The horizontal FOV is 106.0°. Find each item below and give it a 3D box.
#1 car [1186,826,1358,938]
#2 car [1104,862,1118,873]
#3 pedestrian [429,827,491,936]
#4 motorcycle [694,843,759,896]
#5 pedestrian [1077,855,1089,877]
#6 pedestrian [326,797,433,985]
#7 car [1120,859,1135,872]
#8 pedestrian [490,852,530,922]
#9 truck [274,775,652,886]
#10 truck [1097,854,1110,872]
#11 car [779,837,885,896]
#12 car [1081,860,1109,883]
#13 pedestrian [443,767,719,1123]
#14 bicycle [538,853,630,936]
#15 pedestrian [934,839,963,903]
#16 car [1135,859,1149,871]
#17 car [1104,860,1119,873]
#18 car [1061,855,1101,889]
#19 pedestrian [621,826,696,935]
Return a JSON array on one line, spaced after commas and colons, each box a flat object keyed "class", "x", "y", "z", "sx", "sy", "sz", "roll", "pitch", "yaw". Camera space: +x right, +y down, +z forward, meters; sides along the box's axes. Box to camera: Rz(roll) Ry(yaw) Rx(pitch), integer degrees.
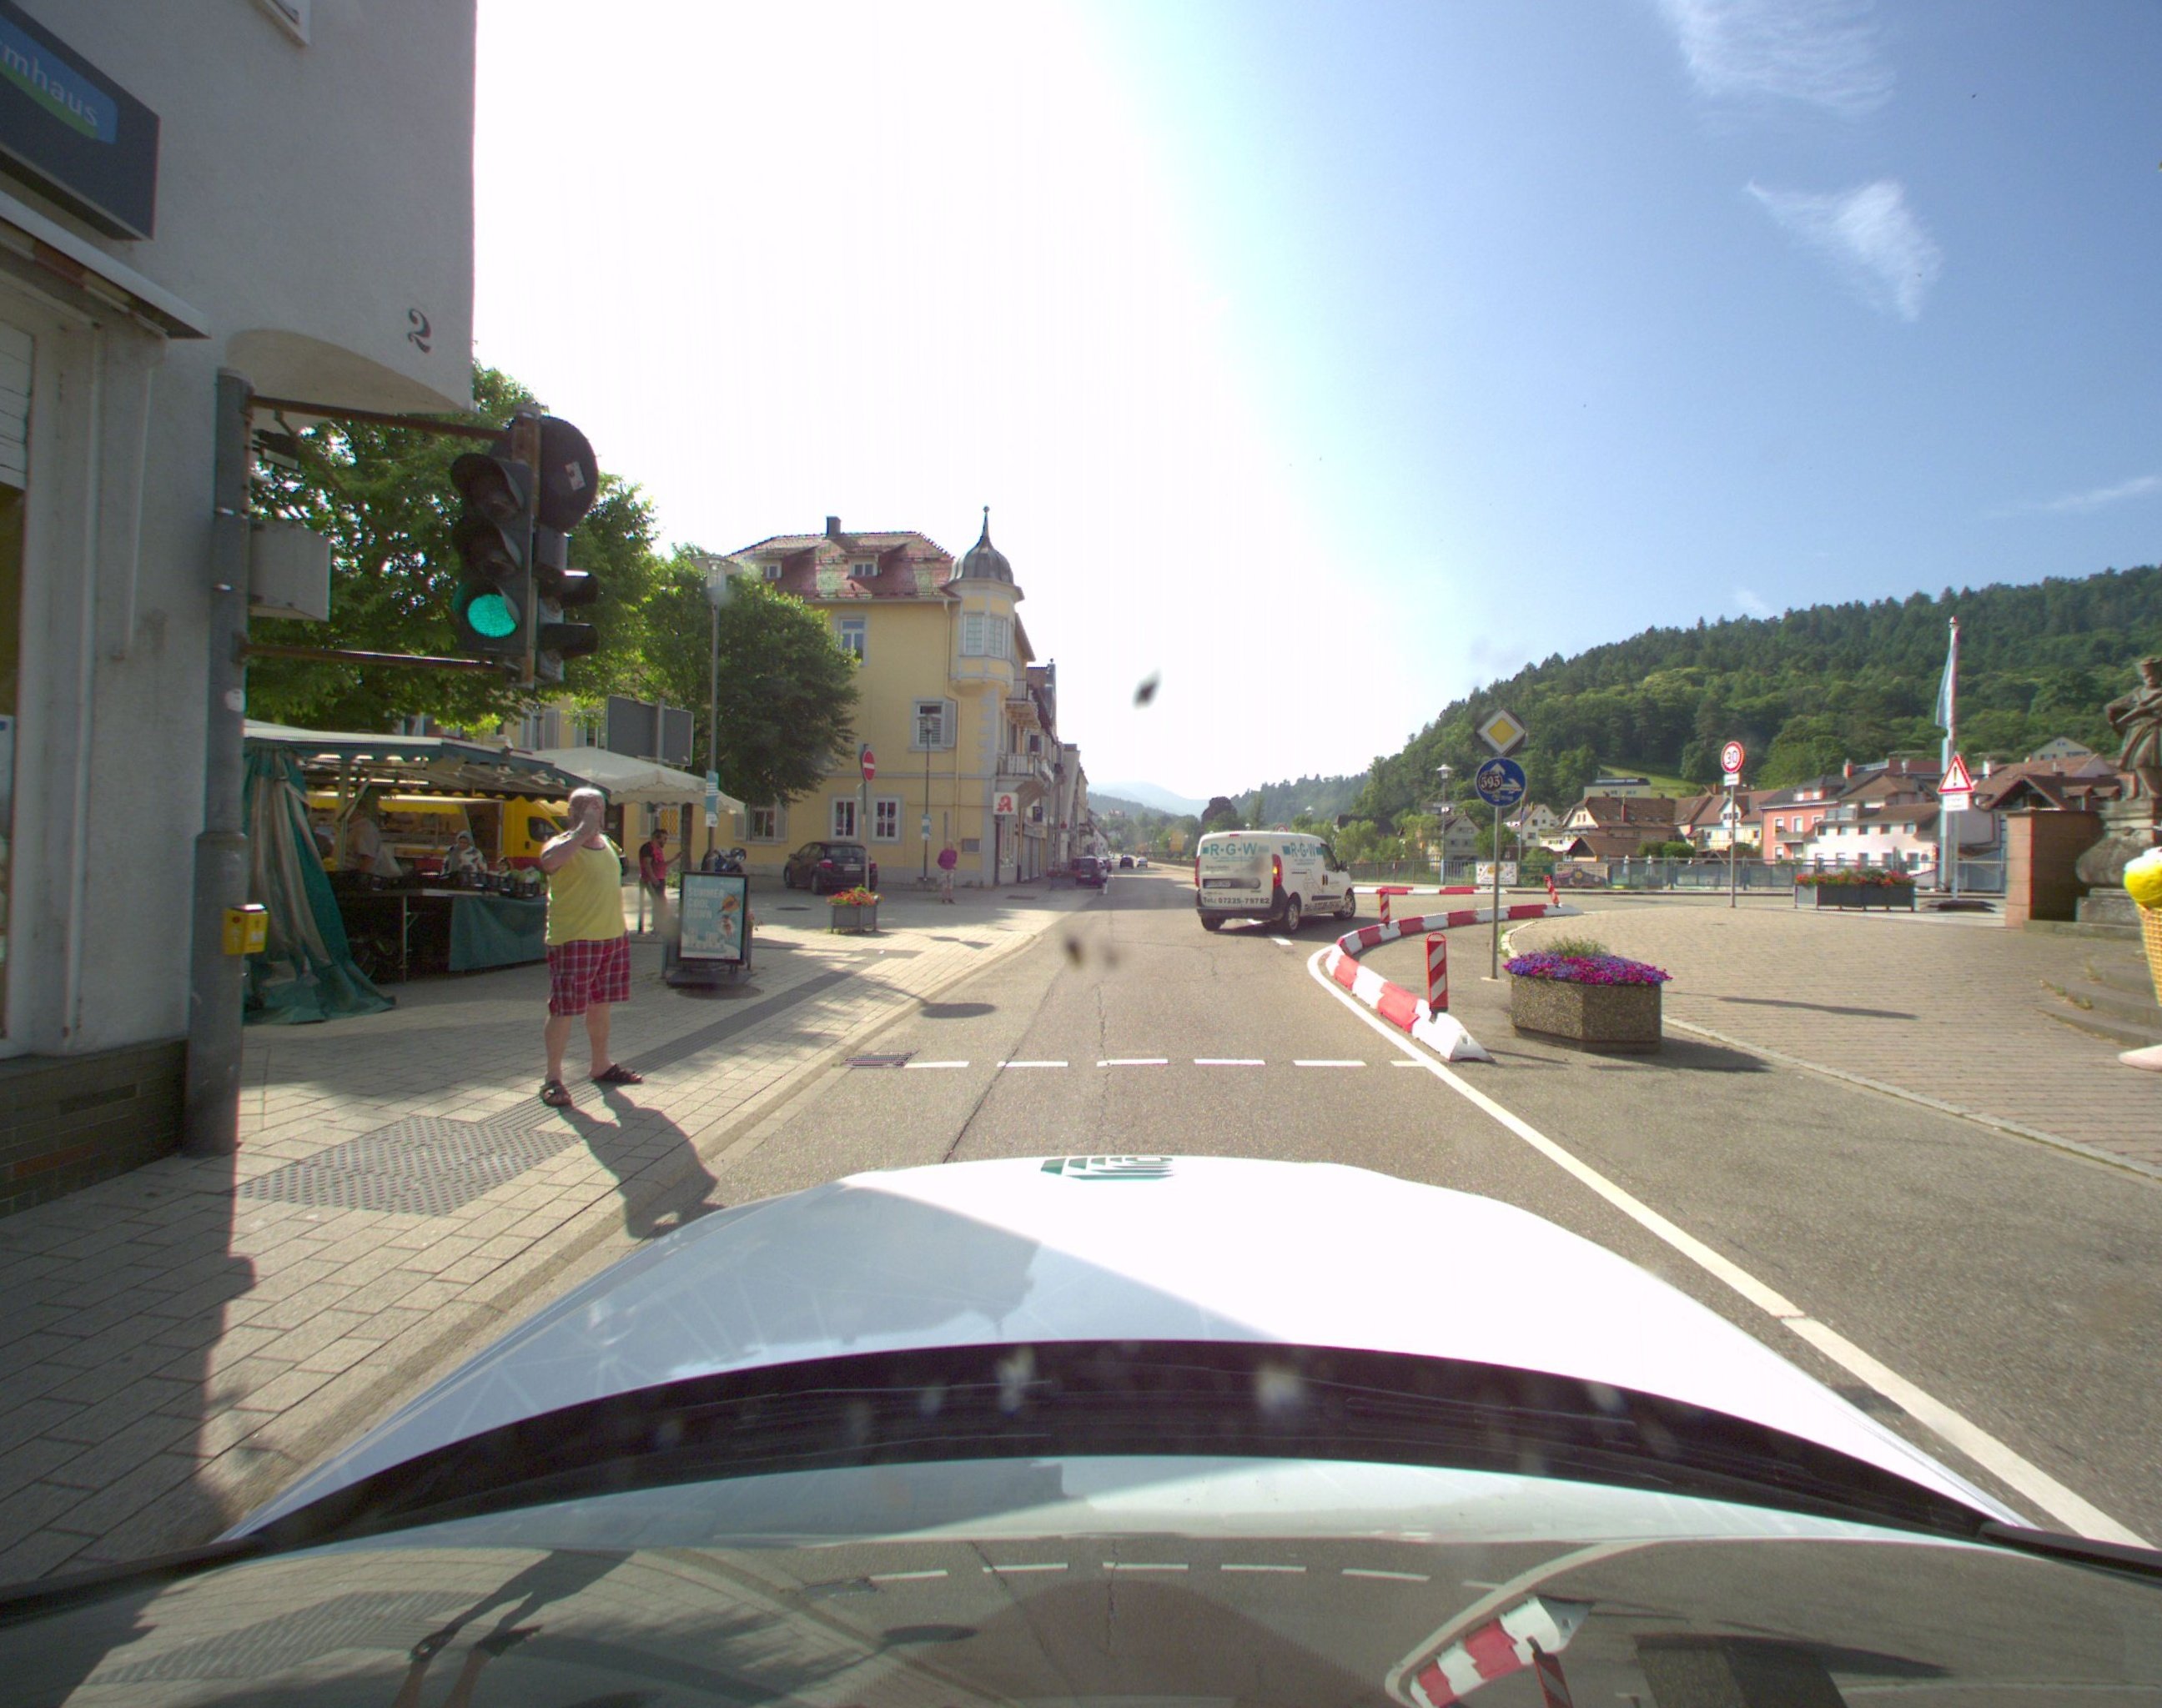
[{"class": "car", "x": 3.935, "y": 0.427, "z": 16.187, "sx": 1.826, "sy": 1.906, "sz": 4.343, "roll": 0, "pitch": 1, "yaw": 35}, {"class": "car", "x": 3.259, "y": 1.455, "z": 89.439, "sx": 1.558, "sy": 1.220, "sz": 3.277, "roll": 0, "pitch": 0, "yaw": 1}, {"class": "pedestrian", "x": -10.258, "y": 0.438, "z": 13.474, "sx": 0.709, "sy": 1.724, "sz": 0.780, "roll": 1, "pitch": 0, "yaw": -31}, {"class": "motorcycle", "x": -10.020, "y": 0.417, "z": 23.109, "sx": 0.882, "sy": 1.360, "sz": 2.089, "roll": 1, "pitch": 2, "yaw": 1}, {"class": "pedestrian", "x": 0.188, "y": 0.928, "z": 63.703, "sx": 0.682, "sy": 1.696, "sz": 0.664, "roll": 0, "pitch": -1, "yaw": 29}, {"class": "pedestrian", "x": -7.750, "y": 0.393, "z": 9.036, "sx": 0.652, "sy": 1.985, "sz": 0.703, "roll": 0, "pitch": 0, "yaw": -18}, {"class": "car", "x": 6.462, "y": 1.597, "z": 113.604, "sx": 1.985, "sy": 1.662, "sz": 4.003, "roll": 1, "pitch": 0, "yaw": 3}, {"class": "pedestrian", "x": -9.762, "y": 0.545, "z": 13.948, "sx": 0.518, "sy": 1.160, "sz": 0.616, "roll": 1, "pitch": 0, "yaw": -32}, {"class": "truck", "x": -17.828, "y": -0.669, "z": 23.910, "sx": 8.798, "sy": 2.757, "sz": 3.012, "roll": 2, "pitch": 1, "yaw": 2}, {"class": "truck", "x": 3.026, "y": 1.209, "z": 112.028, "sx": 1.741, "sy": 2.468, "sz": 4.662, "roll": 0, "pitch": 0, "yaw": 1}, {"class": "car", "x": -7.577, "y": 0.319, "z": 24.551, "sx": 1.931, "sy": 1.542, "sz": 3.918, "roll": 1, "pitch": 1, "yaw": -34}, {"class": "car", "x": 0.941, "y": 1.132, "z": 53.236, "sx": 1.741, "sy": 1.448, "sz": 3.795, "roll": 0, "pitch": 0, "yaw": 1}, {"class": "pedestrian", "x": -2.958, "y": 0.460, "z": 4.844, "sx": 1.008, "sy": 1.815, "sz": 0.913, "roll": 5, "pitch": 0, "yaw": 34}, {"class": "bicycle", "x": -7.970, "y": 0.613, "z": 13.158, "sx": 0.615, "sy": 1.235, "sz": 1.856, "roll": 1, "pitch": 0, "yaw": -10}, {"class": "pedestrian", "x": -3.660, "y": 0.456, "z": 22.483, "sx": 0.676, "sy": 1.714, "sz": 0.617, "roll": 1, "pitch": 0, "yaw": -1}, {"class": "car", "x": 9.409, "y": 1.688, "z": 125.521, "sx": 1.985, "sy": 1.662, "sz": 4.003, "roll": 1, "pitch": 0, "yaw": 3}, {"class": "car", "x": 3.519, "y": 1.485, "z": 95.420, "sx": 1.741, "sy": 1.448, "sz": 3.277, "roll": 0, "pitch": 0, "yaw": 1}, {"class": "car", "x": 0.026, "y": 0.837, "z": 39.596, "sx": 1.840, "sy": 1.568, "sz": 3.569, "roll": 0, "pitch": 0, "yaw": 1}, {"class": "pedestrian", "x": -6.726, "y": 0.422, "z": 12.994, "sx": 0.567, "sy": 1.659, "sz": 0.885, "roll": 1, "pitch": -2, "yaw": 8}]
